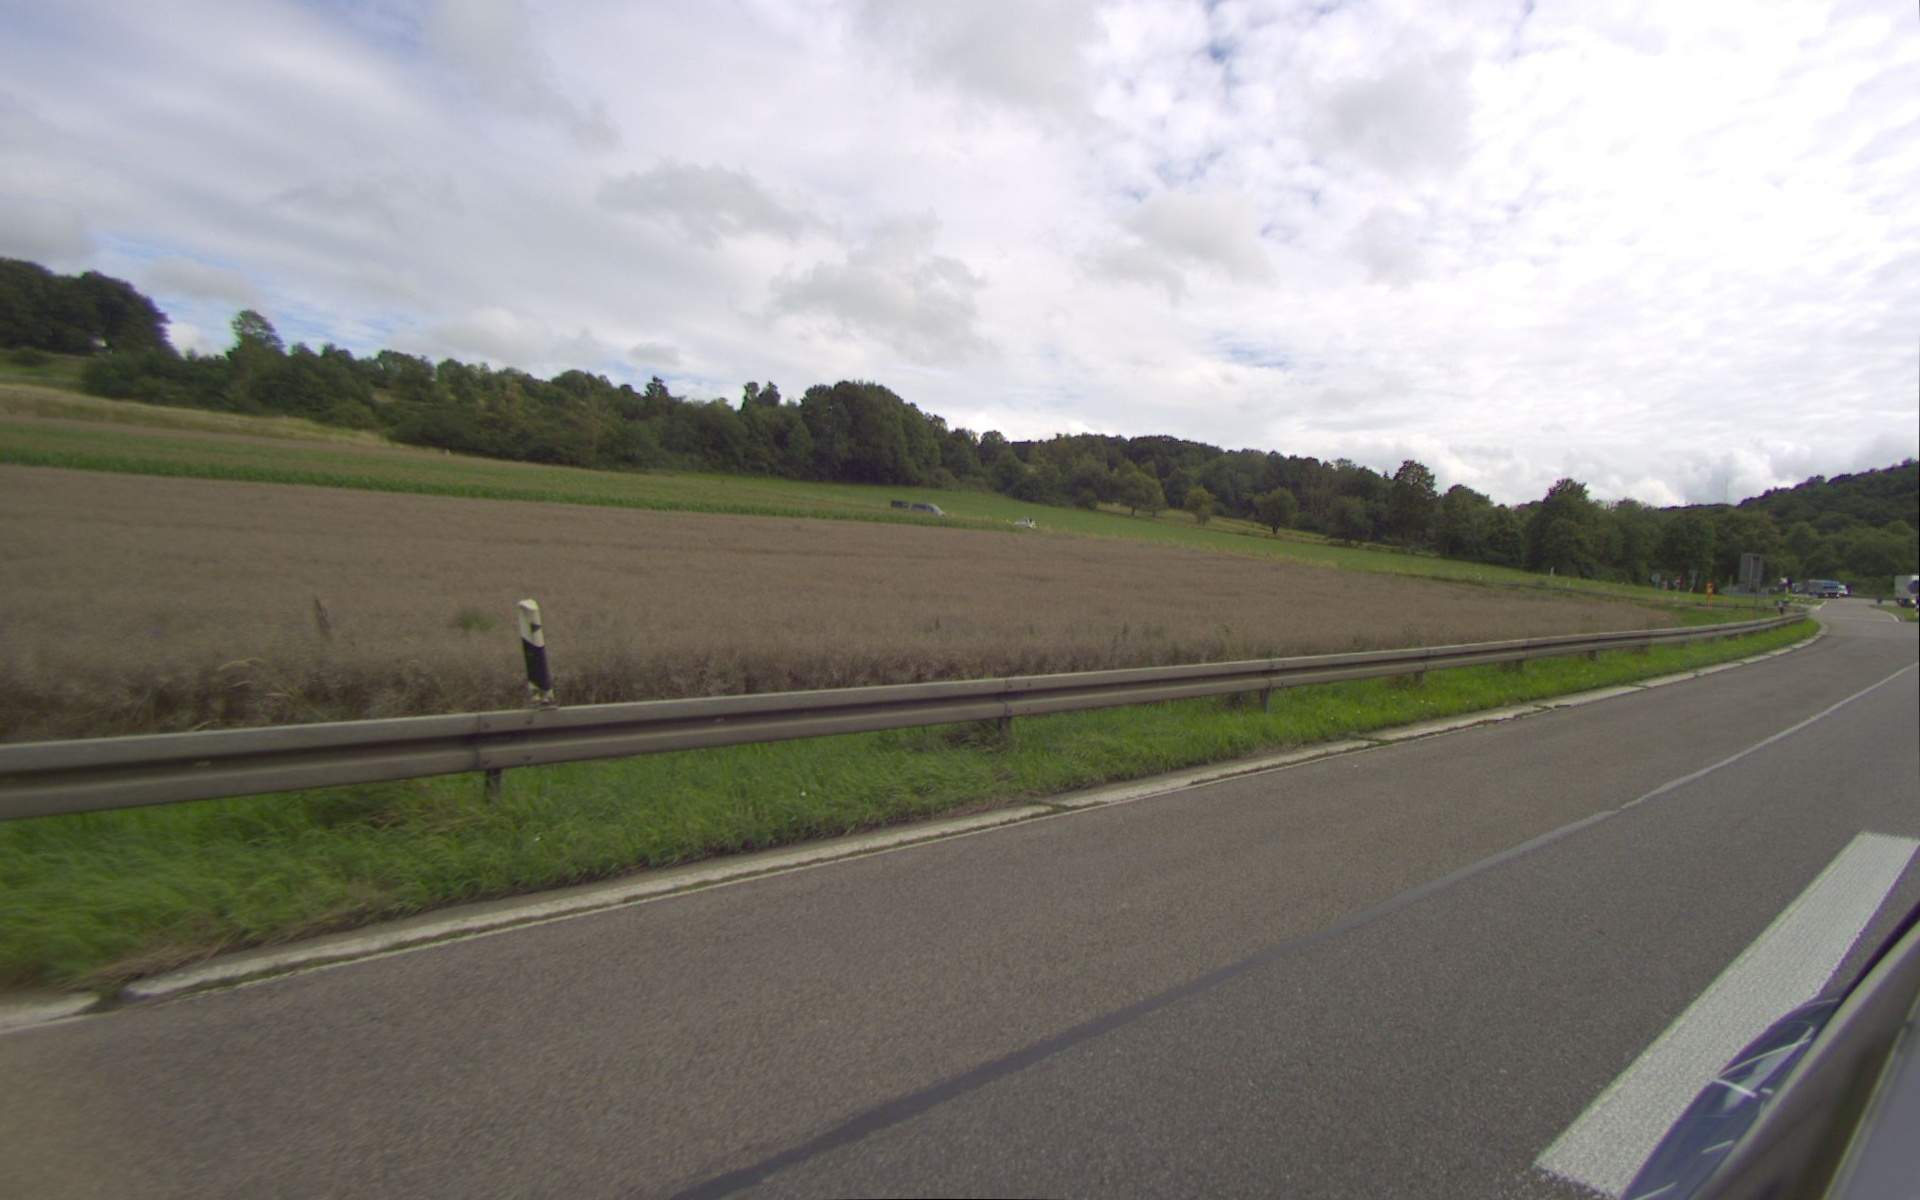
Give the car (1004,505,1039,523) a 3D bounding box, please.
[{"bbox_3d":[7.832,-10.954,128.898,3.975,1.569,1.763,11,4,32],"label":"car"}]
